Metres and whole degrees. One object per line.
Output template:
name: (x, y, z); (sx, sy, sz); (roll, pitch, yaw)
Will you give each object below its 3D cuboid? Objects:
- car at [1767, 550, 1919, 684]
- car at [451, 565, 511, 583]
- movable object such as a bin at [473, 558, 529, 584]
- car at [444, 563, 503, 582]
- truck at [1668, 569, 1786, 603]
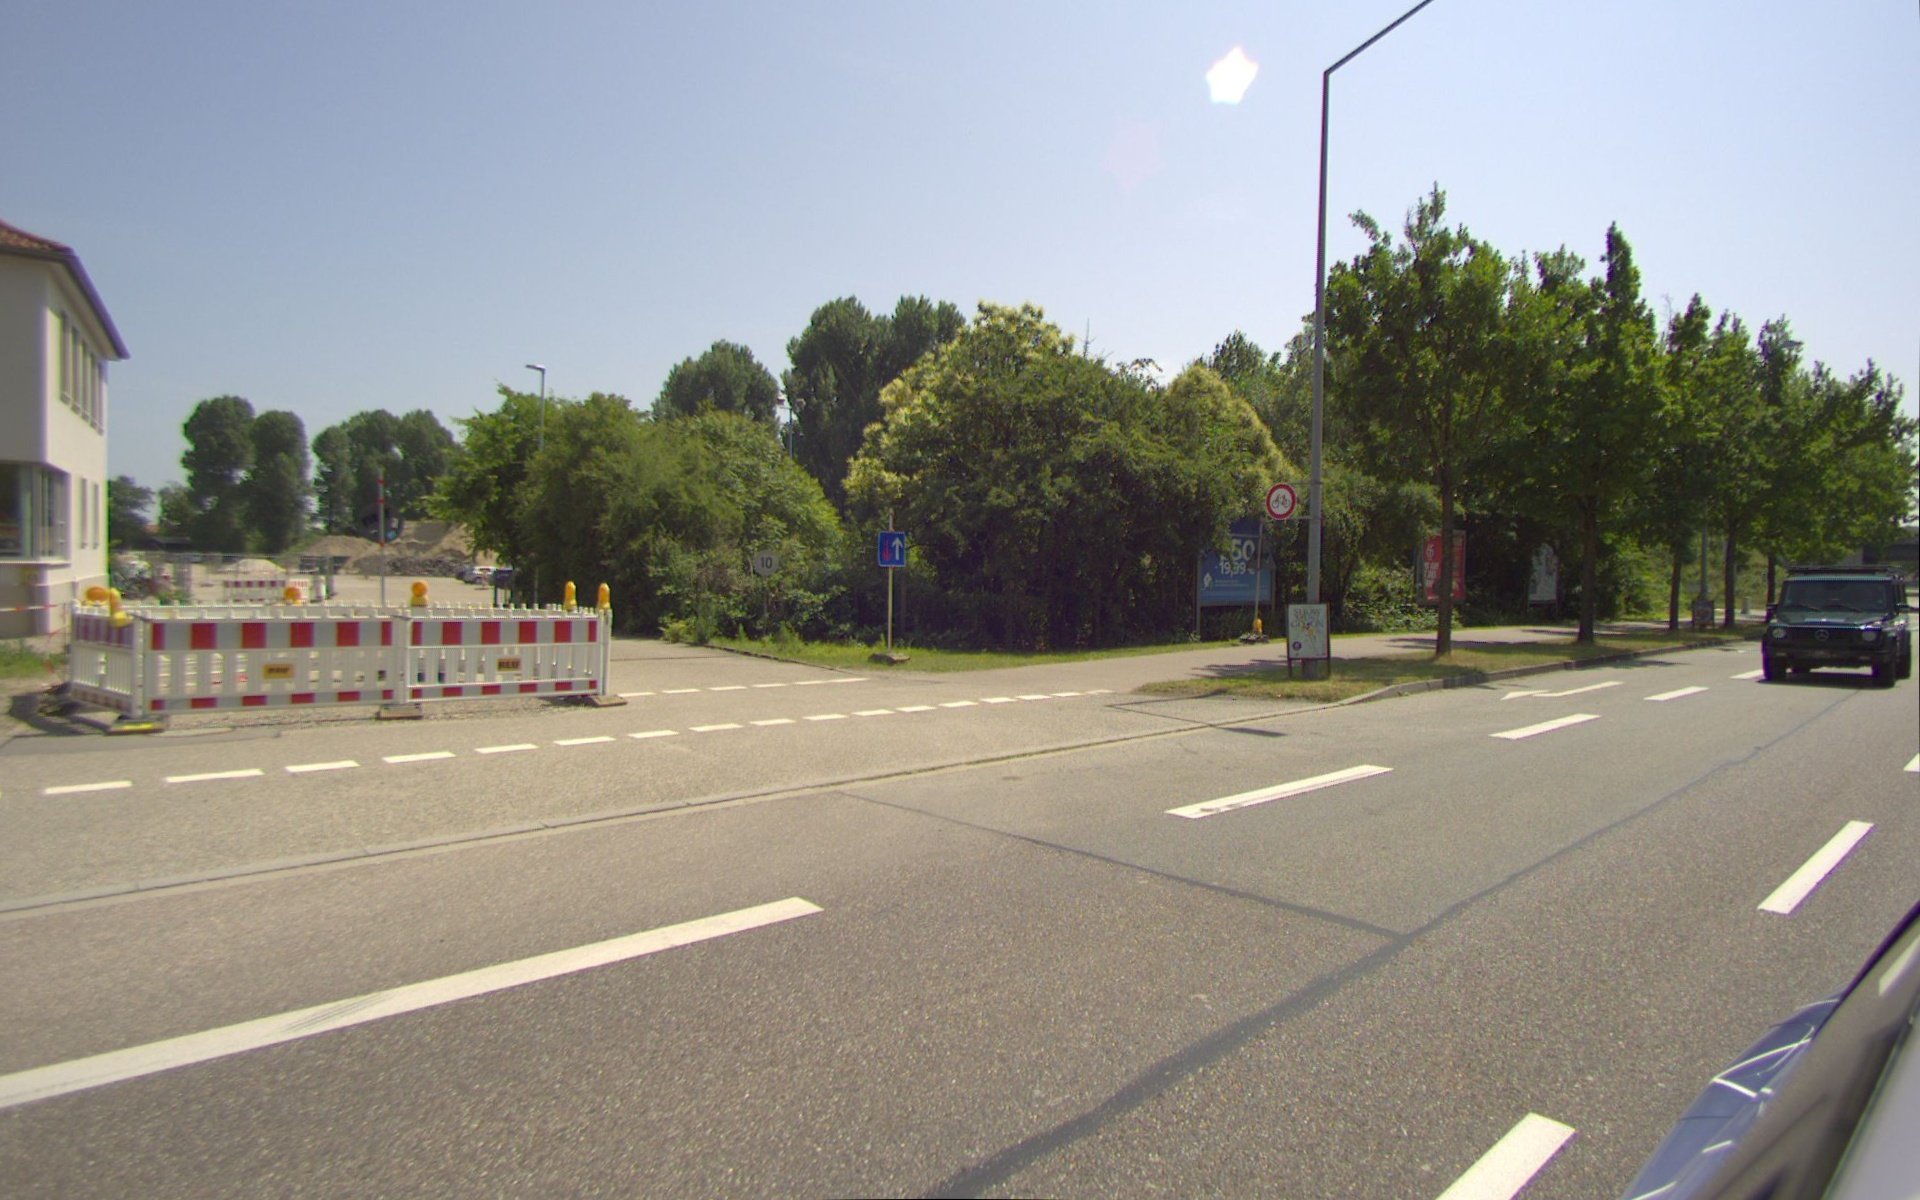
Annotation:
car: (16.445, 0.224, 18.665); (4.482, 2.180, 1.839); (-1, 2, -44)
car: (-37.657, -2.015, 79.563); (3.930, 1.371, 1.997); (0, 2, -41)
movable object such as a bin: (-30.281, -1.910, 66.767); (3.194, 1.680, 2.180); (0, 2, -28)
car: (-39.182, -2.173, 81.477); (3.930, 1.451, 1.997); (0, 2, -41)
truck: (71.460, -1.351, 94.429); (8.486, 2.952, 2.843); (2, 2, 43)
